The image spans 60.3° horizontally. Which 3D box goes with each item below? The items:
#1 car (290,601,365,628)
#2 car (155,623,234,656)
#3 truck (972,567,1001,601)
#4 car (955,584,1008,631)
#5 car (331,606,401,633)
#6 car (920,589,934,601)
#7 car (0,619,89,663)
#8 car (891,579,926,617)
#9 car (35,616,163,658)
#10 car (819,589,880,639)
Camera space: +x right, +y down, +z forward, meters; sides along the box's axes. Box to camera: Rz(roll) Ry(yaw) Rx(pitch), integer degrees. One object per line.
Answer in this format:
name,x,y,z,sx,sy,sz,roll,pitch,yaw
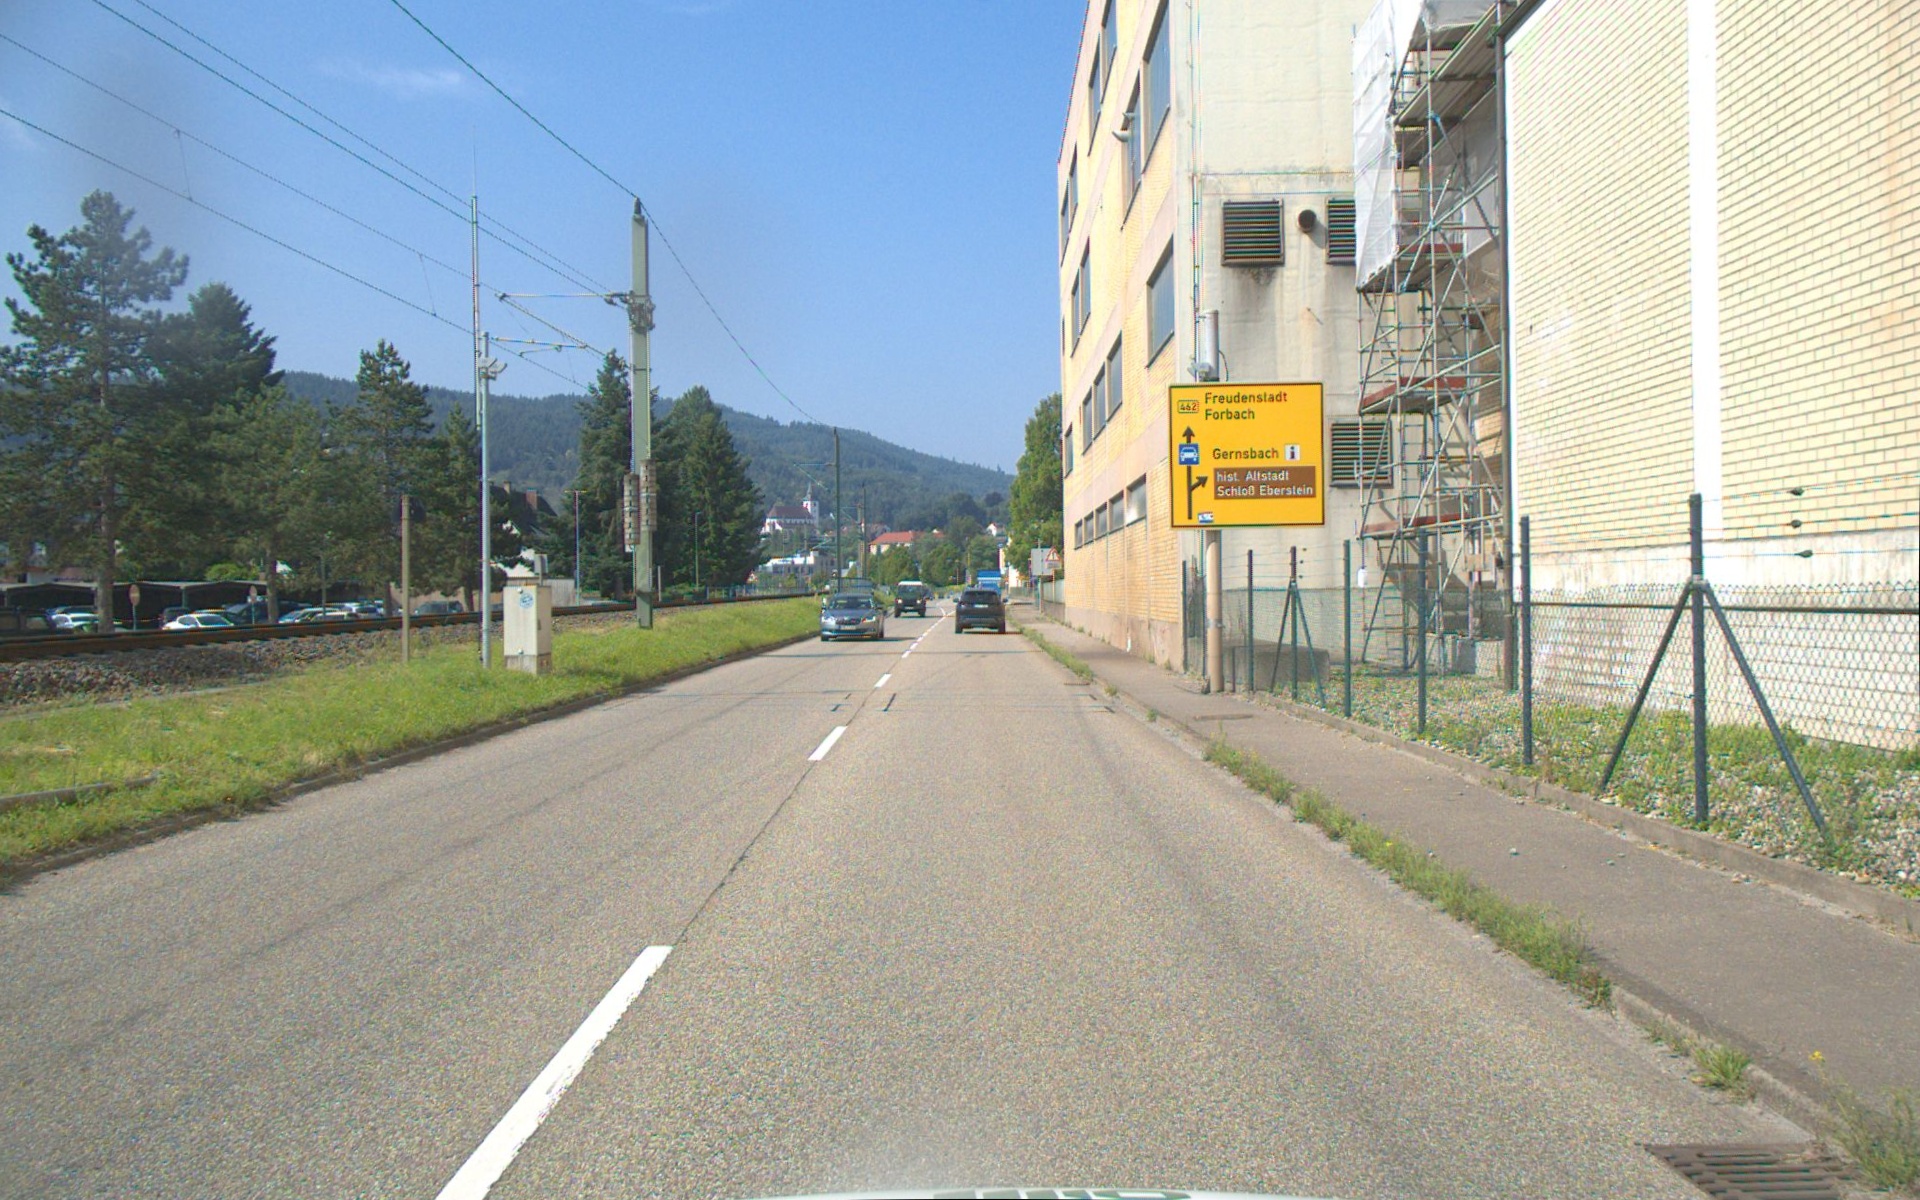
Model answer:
car,-38.102,0.882,99.740,3.912,1.563,1.815,0,1,-8
car,-33.180,1.721,71.693,3.462,1.348,1.453,-1,1,33
truck,2.314,-1.451,147.974,2.266,3.022,5.964,-1,1,-2
car,0.814,0.244,61.189,1.880,1.668,4.001,-1,1,1
car,-38.247,1.262,106.615,3.912,1.694,1.815,0,1,-8
car,-4.158,-0.641,207.503,1.706,1.533,4.199,0,1,-1
car,-31.922,1.406,56.535,1.493,1.381,3.497,-1,1,44
car,-2.975,-0.139,96.015,1.722,2.114,4.809,0,1,1
car,-31.312,1.335,60.228,1.535,1.348,3.840,-1,1,38
car,-3.458,0.407,52.366,1.732,1.430,4.296,-2,1,-1
